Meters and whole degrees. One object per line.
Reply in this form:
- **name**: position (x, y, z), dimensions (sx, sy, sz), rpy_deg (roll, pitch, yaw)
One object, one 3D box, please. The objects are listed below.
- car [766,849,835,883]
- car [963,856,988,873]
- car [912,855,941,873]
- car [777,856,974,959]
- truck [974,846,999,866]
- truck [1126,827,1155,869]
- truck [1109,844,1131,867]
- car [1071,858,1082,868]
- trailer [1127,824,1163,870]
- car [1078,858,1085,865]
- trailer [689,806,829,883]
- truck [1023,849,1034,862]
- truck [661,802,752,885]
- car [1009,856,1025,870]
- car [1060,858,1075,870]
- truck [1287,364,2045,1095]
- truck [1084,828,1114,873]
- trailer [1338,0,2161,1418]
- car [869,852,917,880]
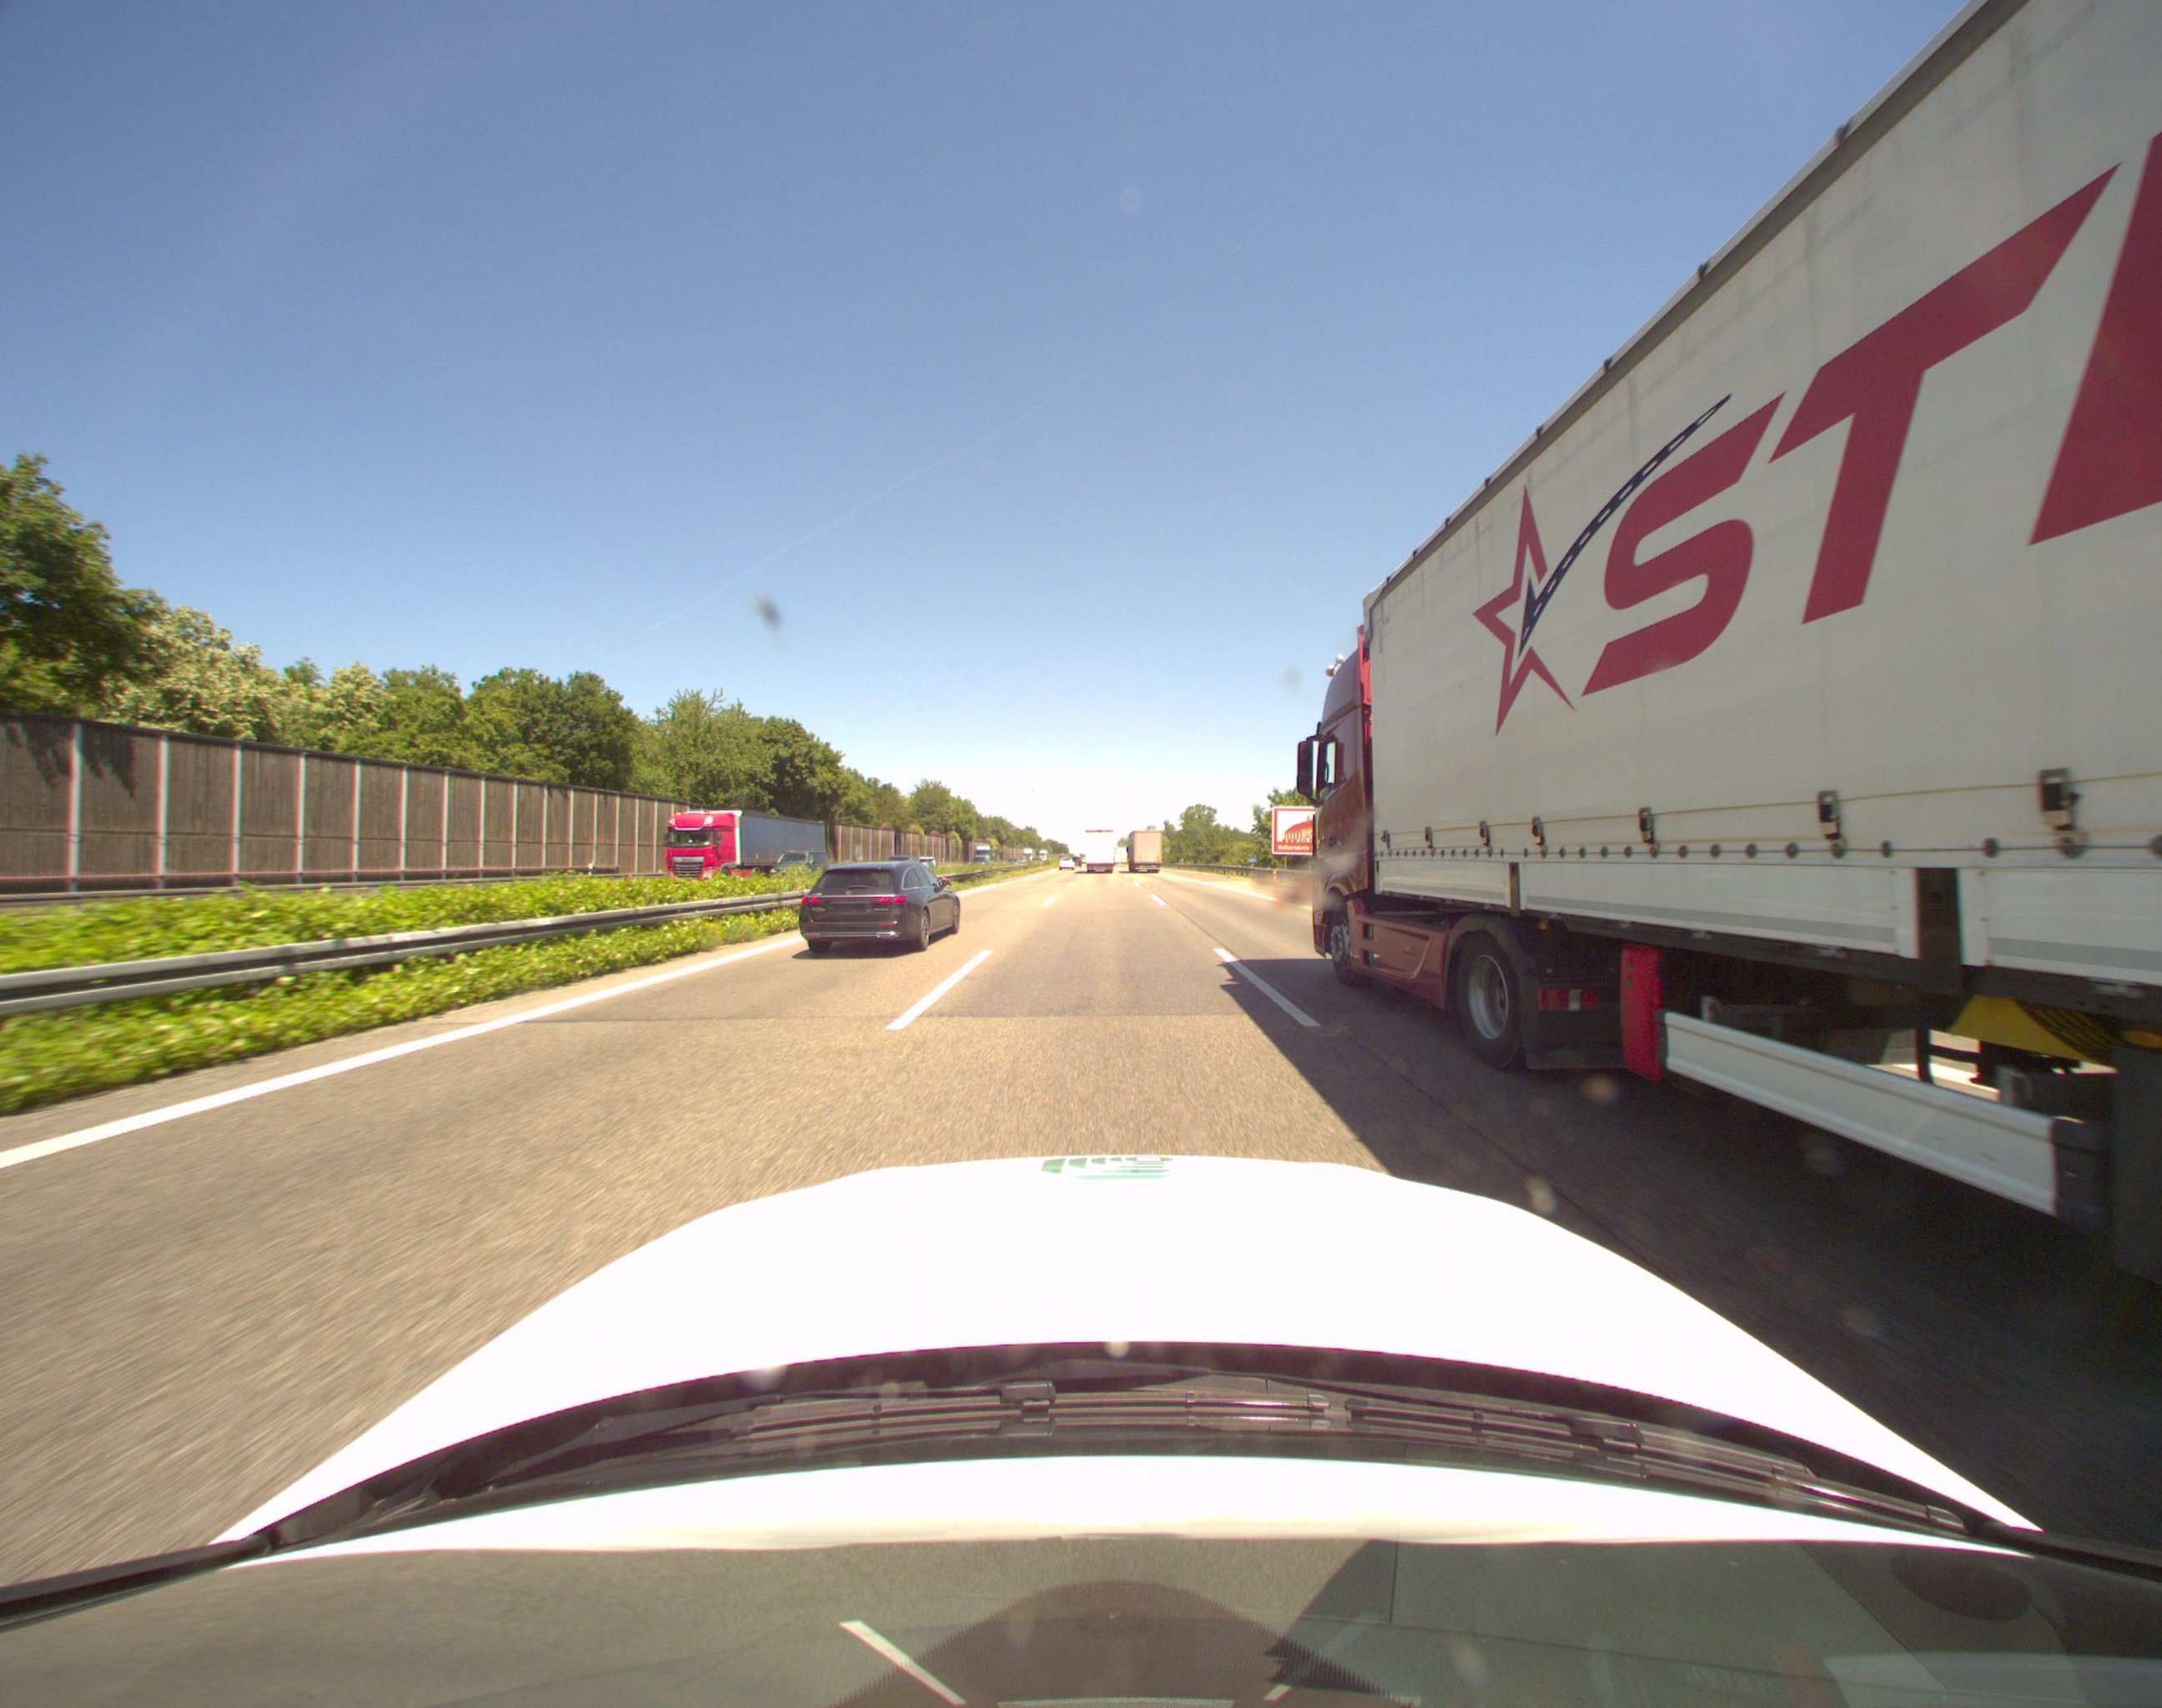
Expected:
- **car**: position (-15.858, 0.684, 46.349), dimensions (1.986, 1.816, 5.221), rpy_deg (0, 0, 1)
- **car**: position (-10.975, 1.087, 85.118), dimensions (1.986, 1.720, 4.533), rpy_deg (0, 0, 1)
- **car**: position (-15.322, 0.998, 81.007), dimensions (1.986, 1.720, 4.533), rpy_deg (0, 0, 1)
- **car**: position (-3.411, 0.797, 14.932), dimensions (1.936, 1.506, 5.823), rpy_deg (0, 0, 2)
- **truck**: position (-17.942, 0.378, 155.082), dimensions (3.079, 3.675, 12.368), rpy_deg (0, 0, 1)
- **truck**: position (6.326, -0.594, 87.519), dimensions (2.682, 4.215, 7.838), rpy_deg (1, 0, 0)
- **truck**: position (8.049, 0.309, 168.445), dimensions (3.365, 4.303, 11.441), rpy_deg (3, 0, -2)
- **car**: position (-0.744, 1.399, 131.842), dimensions (1.849, 1.617, 3.999), rpy_deg (0, 0, -1)
- **trailer**: position (6.271, -0.640, 81.425), dimensions (2.694, 4.216, 13.211), rpy_deg (1, 0, 1)
- **car**: position (0.111, 1.869, 208.231), dimensions (1.850, 1.617, 3.998), rpy_deg (0, 0, -1)
- **trailer**: position (-19.255, -0.469, 50.304), dimensions (2.486, 4.087, 14.277), rpy_deg (-1, 0, 2)
- **truck**: position (-15.734, 0.455, 245.050), dimensions (2.749, 4.022, 6.734), rpy_deg (1, 0, 0)
- **truck**: position (-19.547, -0.508, 42.786), dimensions (2.477, 4.087, 4.679), rpy_deg (-1, -1, 2)
- **car**: position (-9.497, 1.349, 121.384), dimensions (1.986, 1.947, 4.001), rpy_deg (3, 0, 1)
- **car**: position (-1.674, 1.246, 100.092), dimensions (1.850, 1.486, 3.997), rpy_deg (0, 0, -2)
- **truck**: position (4.150, -0.687, 8.062), dimensions (2.696, 4.088, 6.968), rpy_deg (0, 0, 2)
- **truck**: position (1.754, -0.259, 81.118), dimensions (2.698, 4.086, 13.473), rpy_deg (1, 0, 1)
- **trailer**: position (3.961, -0.680, 1.852), dimensions (2.697, 4.088, 14.156), rpy_deg (0, 0, 2)
- **car**: position (-12.077, 0.734, 52.585), dimensions (1.986, 1.720, 4.246), rpy_deg (0, 0, 1)
